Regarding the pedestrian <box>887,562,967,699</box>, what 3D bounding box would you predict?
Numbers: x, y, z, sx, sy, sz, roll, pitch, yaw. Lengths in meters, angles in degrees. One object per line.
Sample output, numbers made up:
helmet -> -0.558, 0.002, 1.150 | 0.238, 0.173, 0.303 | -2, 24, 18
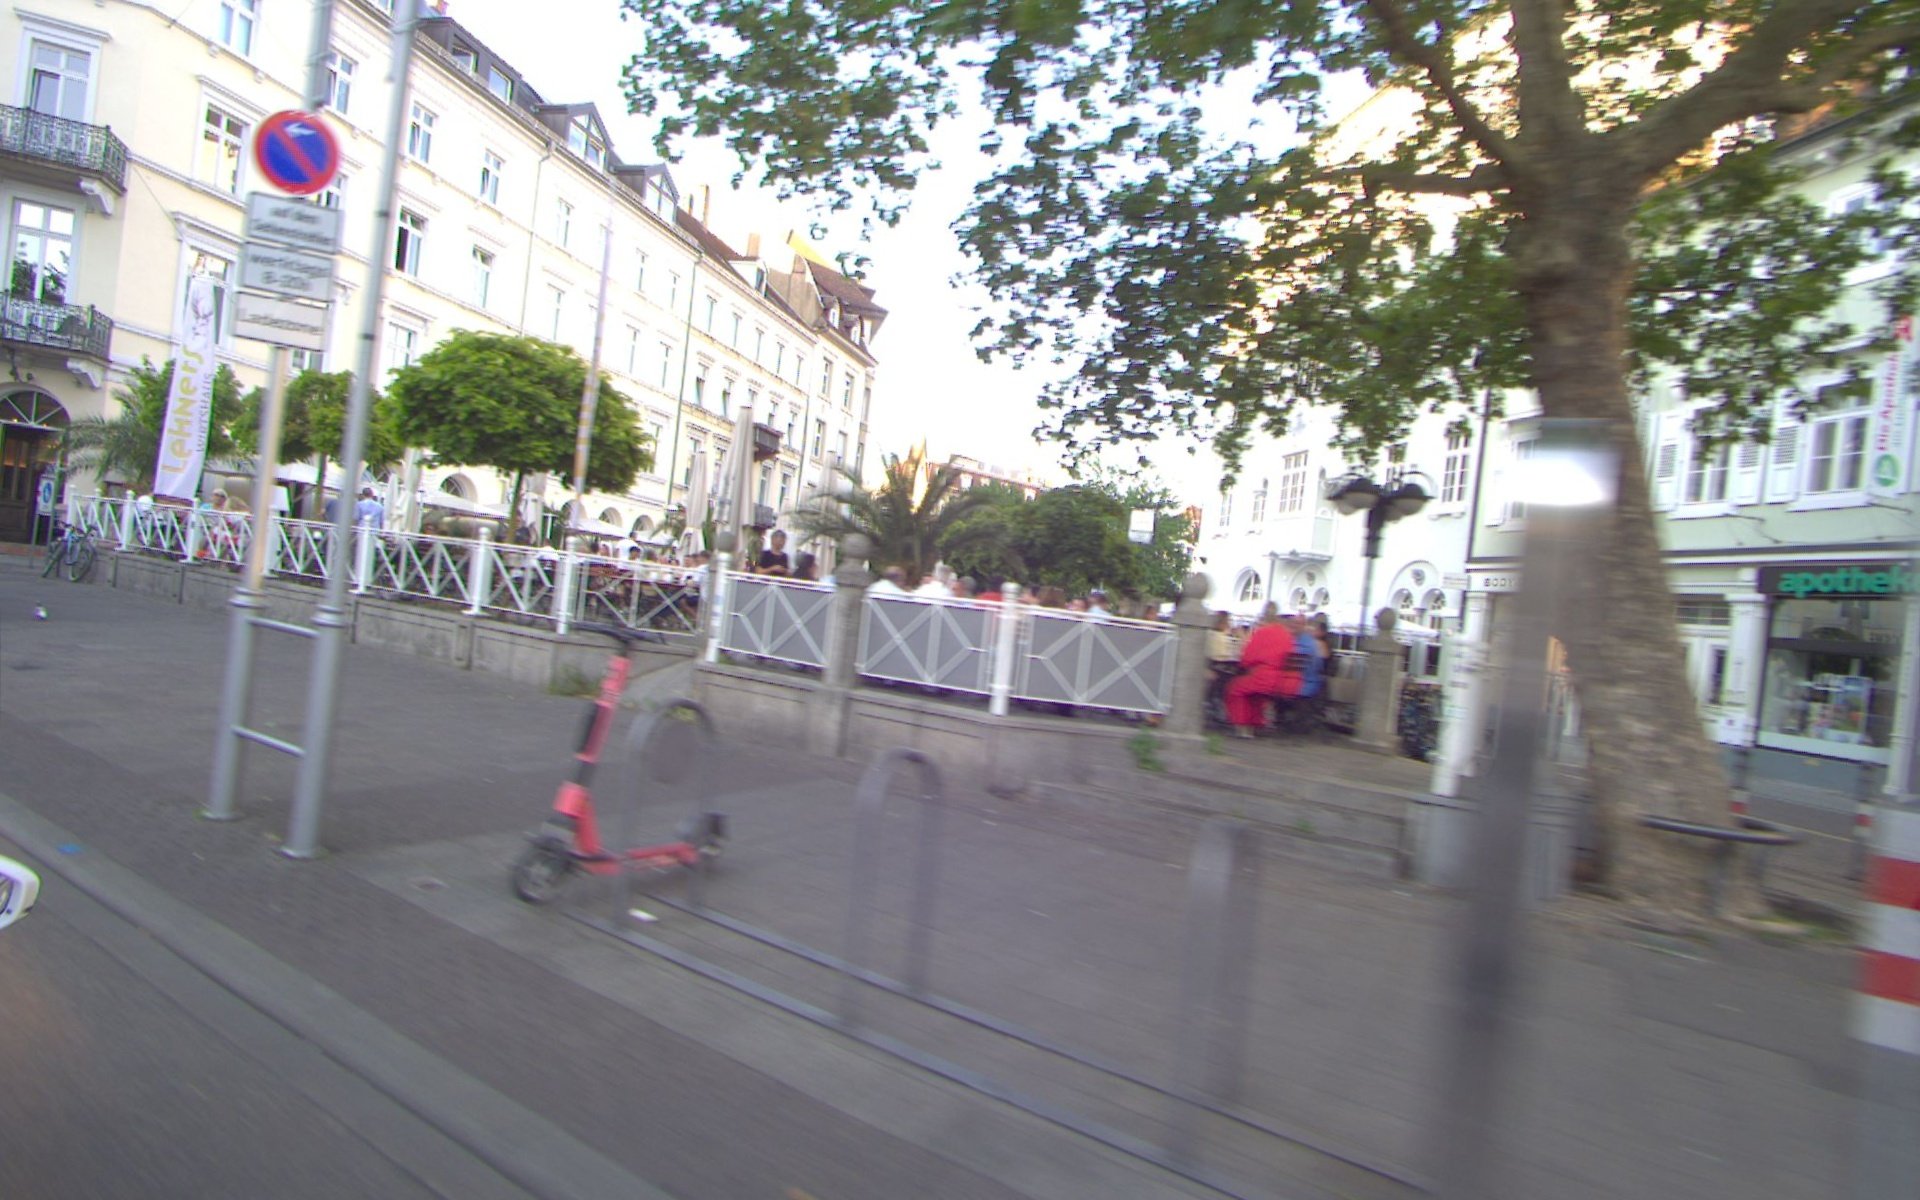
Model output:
pedestrian -> -0.340, 0.308, 10.332 | 0.472, 1.346, 0.533 | 5, 0, -44

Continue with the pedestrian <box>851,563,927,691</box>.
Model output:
pedestrian -> -0.762, 0.285, 10.737 | 0.472, 1.301, 0.533 | 5, 0, -44

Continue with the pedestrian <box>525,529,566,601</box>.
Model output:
pedestrian -> -9.456, -0.788, 22.969 | 0.569, 1.567, 0.510 | 5, 0, 34

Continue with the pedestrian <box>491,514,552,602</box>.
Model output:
pedestrian -> -8.820, -0.833, 20.239 | 0.649, 1.664, 0.758 | 5, 0, 34

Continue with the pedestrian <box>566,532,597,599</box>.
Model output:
pedestrian -> -9.345, -0.846, 24.841 | 0.506, 1.567, 0.574 | 5, 0, -29

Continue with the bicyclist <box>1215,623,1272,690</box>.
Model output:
bicyclist -> 7.602, 1.495, 27.012 | 0.977, 1.671, 0.997 | 7, -2, -14

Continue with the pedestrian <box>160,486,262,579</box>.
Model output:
pedestrian -> -11.720, -1.048, 15.746 | 0.951, 1.322, 0.903 | 5, 0, 31

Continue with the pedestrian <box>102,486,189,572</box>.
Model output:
pedestrian -> -13.798, -1.195, 17.041 | 0.855, 1.322, 0.823 | 5, 0, 31

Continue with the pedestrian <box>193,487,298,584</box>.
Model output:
pedestrian -> -10.755, -0.964, 15.162 | 0.951, 1.330, 0.903 | 5, 0, 31

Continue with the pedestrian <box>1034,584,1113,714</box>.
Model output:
pedestrian -> 1.184, 0.508, 10.525 | 0.472, 1.301, 0.534 | 5, 0, -42

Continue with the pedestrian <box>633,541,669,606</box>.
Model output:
pedestrian -> -7.883, -0.668, 25.671 | 0.567, 1.567, 0.512 | 5, 0, 10

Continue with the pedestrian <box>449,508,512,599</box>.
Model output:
pedestrian -> -9.314, -0.890, 19.547 | 0.649, 1.664, 0.758 | 5, 0, 34

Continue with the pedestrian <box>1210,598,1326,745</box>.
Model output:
pedestrian -> 2.919, 0.670, 9.544 | 0.642, 1.301, 0.732 | 5, 0, -42

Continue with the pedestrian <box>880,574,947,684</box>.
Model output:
pedestrian -> -0.558, 0.345, 12.107 | 0.472, 1.257, 0.533 | 5, 0, -44

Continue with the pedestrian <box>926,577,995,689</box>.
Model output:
pedestrian -> 0.008, 0.385, 11.846 | 0.472, 1.257, 0.533 | 5, 0, -44

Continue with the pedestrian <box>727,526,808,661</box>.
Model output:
pedestrian -> -2.378, -0.081, 12.441 | 0.617, 1.590, 0.623 | 5, 0, -44

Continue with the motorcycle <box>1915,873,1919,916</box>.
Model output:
motorcycle -> 7.932, 1.753, 6.931 | 1.920, 1.297, 0.563 | 7, 0, 5

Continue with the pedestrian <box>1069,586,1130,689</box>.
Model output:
pedestrian -> 1.846, 0.497, 13.296 | 0.469, 1.301, 0.537 | 5, 0, 41

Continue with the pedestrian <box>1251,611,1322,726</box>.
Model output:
pedestrian -> 3.857, 0.808, 11.885 | 0.472, 1.301, 0.534 | 5, 0, -42

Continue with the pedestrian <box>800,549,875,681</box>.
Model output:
pedestrian -> -1.340, 0.167, 10.995 | 0.472, 1.381, 0.533 | 5, 0, -44

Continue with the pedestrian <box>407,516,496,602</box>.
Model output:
pedestrian -> -8.841, -0.701, 17.515 | 0.890, 1.352, 0.964 | 5, 0, 31

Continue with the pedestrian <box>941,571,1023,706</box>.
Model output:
pedestrian -> 0.220, 0.385, 10.105 | 0.472, 1.301, 0.533 | 5, 0, -44

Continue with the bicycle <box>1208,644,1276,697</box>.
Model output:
bicycle -> 7.542, 1.869, 27.045 | 0.641, 1.226, 2.192 | 7, -2, -13

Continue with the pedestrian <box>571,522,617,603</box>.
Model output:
pedestrian -> -7.390, -0.762, 20.310 | 0.505, 1.567, 0.575 | 5, 0, 42

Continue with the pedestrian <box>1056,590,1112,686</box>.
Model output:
pedestrian -> 1.766, 0.546, 14.298 | 0.469, 1.301, 0.537 | 5, 0, 41

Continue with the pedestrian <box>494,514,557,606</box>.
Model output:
pedestrian -> -8.302, -0.754, 19.229 | 0.648, 1.664, 0.758 | 5, 0, 32

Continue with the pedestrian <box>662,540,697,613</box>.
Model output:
pedestrian -> -5.865, -0.487, 21.017 | 0.569, 1.456, 0.510 | 5, 0, -16

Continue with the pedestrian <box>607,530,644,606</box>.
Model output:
pedestrian -> -7.974, -0.746, 23.979 | 0.567, 1.733, 0.512 | 5, 0, 0

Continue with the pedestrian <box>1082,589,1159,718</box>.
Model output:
pedestrian -> 1.698, 0.567, 10.676 | 0.475, 1.301, 0.519 | 5, 0, -41

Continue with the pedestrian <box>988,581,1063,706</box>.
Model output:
pedestrian -> 0.715, 0.472, 10.952 | 0.472, 1.301, 0.533 | 5, 0, -44

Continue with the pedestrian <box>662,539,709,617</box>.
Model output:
pedestrian -> -5.353, -0.429, 19.631 | 0.504, 1.456, 0.576 | 5, 0, 38

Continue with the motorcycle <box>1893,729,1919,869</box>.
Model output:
motorcycle -> 10.070, 2.011, 9.537 | 1.923, 1.297, 0.562 | 7, 0, -6

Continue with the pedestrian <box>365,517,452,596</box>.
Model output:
pedestrian -> -9.935, -0.776, 18.134 | 0.890, 1.282, 0.964 | 5, 0, 31

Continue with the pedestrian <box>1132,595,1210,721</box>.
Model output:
pedestrian -> 2.272, 0.622, 10.839 | 0.472, 1.301, 0.534 | 5, 0, -42

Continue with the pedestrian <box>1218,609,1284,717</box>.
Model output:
pedestrian -> 3.693, 0.801, 12.788 | 0.472, 1.301, 0.534 | 5, 0, -42

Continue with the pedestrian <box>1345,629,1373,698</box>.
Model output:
pedestrian -> 10.915, 1.742, 27.513 | 0.564, 1.808, 0.624 | 5, 0, 23

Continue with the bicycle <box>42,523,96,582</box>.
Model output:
bicycle -> -15.032, -0.807, 16.972 | 1.351, 0.913, 0.250 | 5, 0, 32

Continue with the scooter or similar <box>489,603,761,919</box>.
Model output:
scooter or similar -> -1.460, 0.671, 4.538 | 0.295, 1.231, 1.125 | 7, 2, 33

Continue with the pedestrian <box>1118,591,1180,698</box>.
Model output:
pedestrian -> 2.411, 0.574, 12.839 | 0.469, 1.301, 0.537 | 5, 0, 41

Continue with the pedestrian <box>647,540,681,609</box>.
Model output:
pedestrian -> -7.068, -0.597, 24.046 | 0.568, 1.567, 0.511 | 5, 0, -8

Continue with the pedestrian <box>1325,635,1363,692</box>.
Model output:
pedestrian -> 11.462, 1.882, 30.043 | 0.750, 1.615, 0.617 | 5, 0, 1

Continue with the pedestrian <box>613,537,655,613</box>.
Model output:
pedestrian -> -6.578, -0.501, 20.312 | 0.502, 1.456, 0.578 | 5, 0, 8

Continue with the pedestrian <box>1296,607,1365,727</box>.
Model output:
pedestrian -> 4.552, 0.819, 12.370 | 0.472, 1.417, 0.534 | 5, 0, -42

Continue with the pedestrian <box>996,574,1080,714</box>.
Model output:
pedestrian -> 0.759, 0.432, 9.811 | 0.472, 1.301, 0.533 | 5, 0, -44

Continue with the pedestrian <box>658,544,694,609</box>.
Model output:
pedestrian -> -7.205, -0.599, 25.540 | 0.567, 1.567, 0.512 | 5, 0, 10

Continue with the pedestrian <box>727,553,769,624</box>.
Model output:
pedestrian -> -4.538, -0.236, 21.591 | 0.568, 1.456, 0.511 | 5, 0, 31

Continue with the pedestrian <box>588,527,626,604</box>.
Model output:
pedestrian -> -7.504, -0.721, 21.388 | 0.507, 1.567, 0.573 | 5, 0, -33

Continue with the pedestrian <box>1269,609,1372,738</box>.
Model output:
pedestrian -> 3.900, 0.792, 10.880 | 0.642, 1.301, 0.732 | 5, 0, -42

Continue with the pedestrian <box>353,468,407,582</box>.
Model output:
pedestrian -> -12.449, -1.595, 21.610 | 0.569, 2.333, 0.615 | 5, 0, 10

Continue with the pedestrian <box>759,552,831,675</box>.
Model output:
pedestrian -> -1.861, 0.147, 11.315 | 0.472, 1.321, 0.533 | 5, 0, -44

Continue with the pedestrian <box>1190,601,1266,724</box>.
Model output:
pedestrian -> 2.968, 0.692, 11.152 | 0.472, 1.301, 0.534 | 5, 0, -42

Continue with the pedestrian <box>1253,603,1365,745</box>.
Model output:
pedestrian -> 3.447, 0.727, 9.949 | 0.642, 1.301, 0.732 | 5, 0, -42
